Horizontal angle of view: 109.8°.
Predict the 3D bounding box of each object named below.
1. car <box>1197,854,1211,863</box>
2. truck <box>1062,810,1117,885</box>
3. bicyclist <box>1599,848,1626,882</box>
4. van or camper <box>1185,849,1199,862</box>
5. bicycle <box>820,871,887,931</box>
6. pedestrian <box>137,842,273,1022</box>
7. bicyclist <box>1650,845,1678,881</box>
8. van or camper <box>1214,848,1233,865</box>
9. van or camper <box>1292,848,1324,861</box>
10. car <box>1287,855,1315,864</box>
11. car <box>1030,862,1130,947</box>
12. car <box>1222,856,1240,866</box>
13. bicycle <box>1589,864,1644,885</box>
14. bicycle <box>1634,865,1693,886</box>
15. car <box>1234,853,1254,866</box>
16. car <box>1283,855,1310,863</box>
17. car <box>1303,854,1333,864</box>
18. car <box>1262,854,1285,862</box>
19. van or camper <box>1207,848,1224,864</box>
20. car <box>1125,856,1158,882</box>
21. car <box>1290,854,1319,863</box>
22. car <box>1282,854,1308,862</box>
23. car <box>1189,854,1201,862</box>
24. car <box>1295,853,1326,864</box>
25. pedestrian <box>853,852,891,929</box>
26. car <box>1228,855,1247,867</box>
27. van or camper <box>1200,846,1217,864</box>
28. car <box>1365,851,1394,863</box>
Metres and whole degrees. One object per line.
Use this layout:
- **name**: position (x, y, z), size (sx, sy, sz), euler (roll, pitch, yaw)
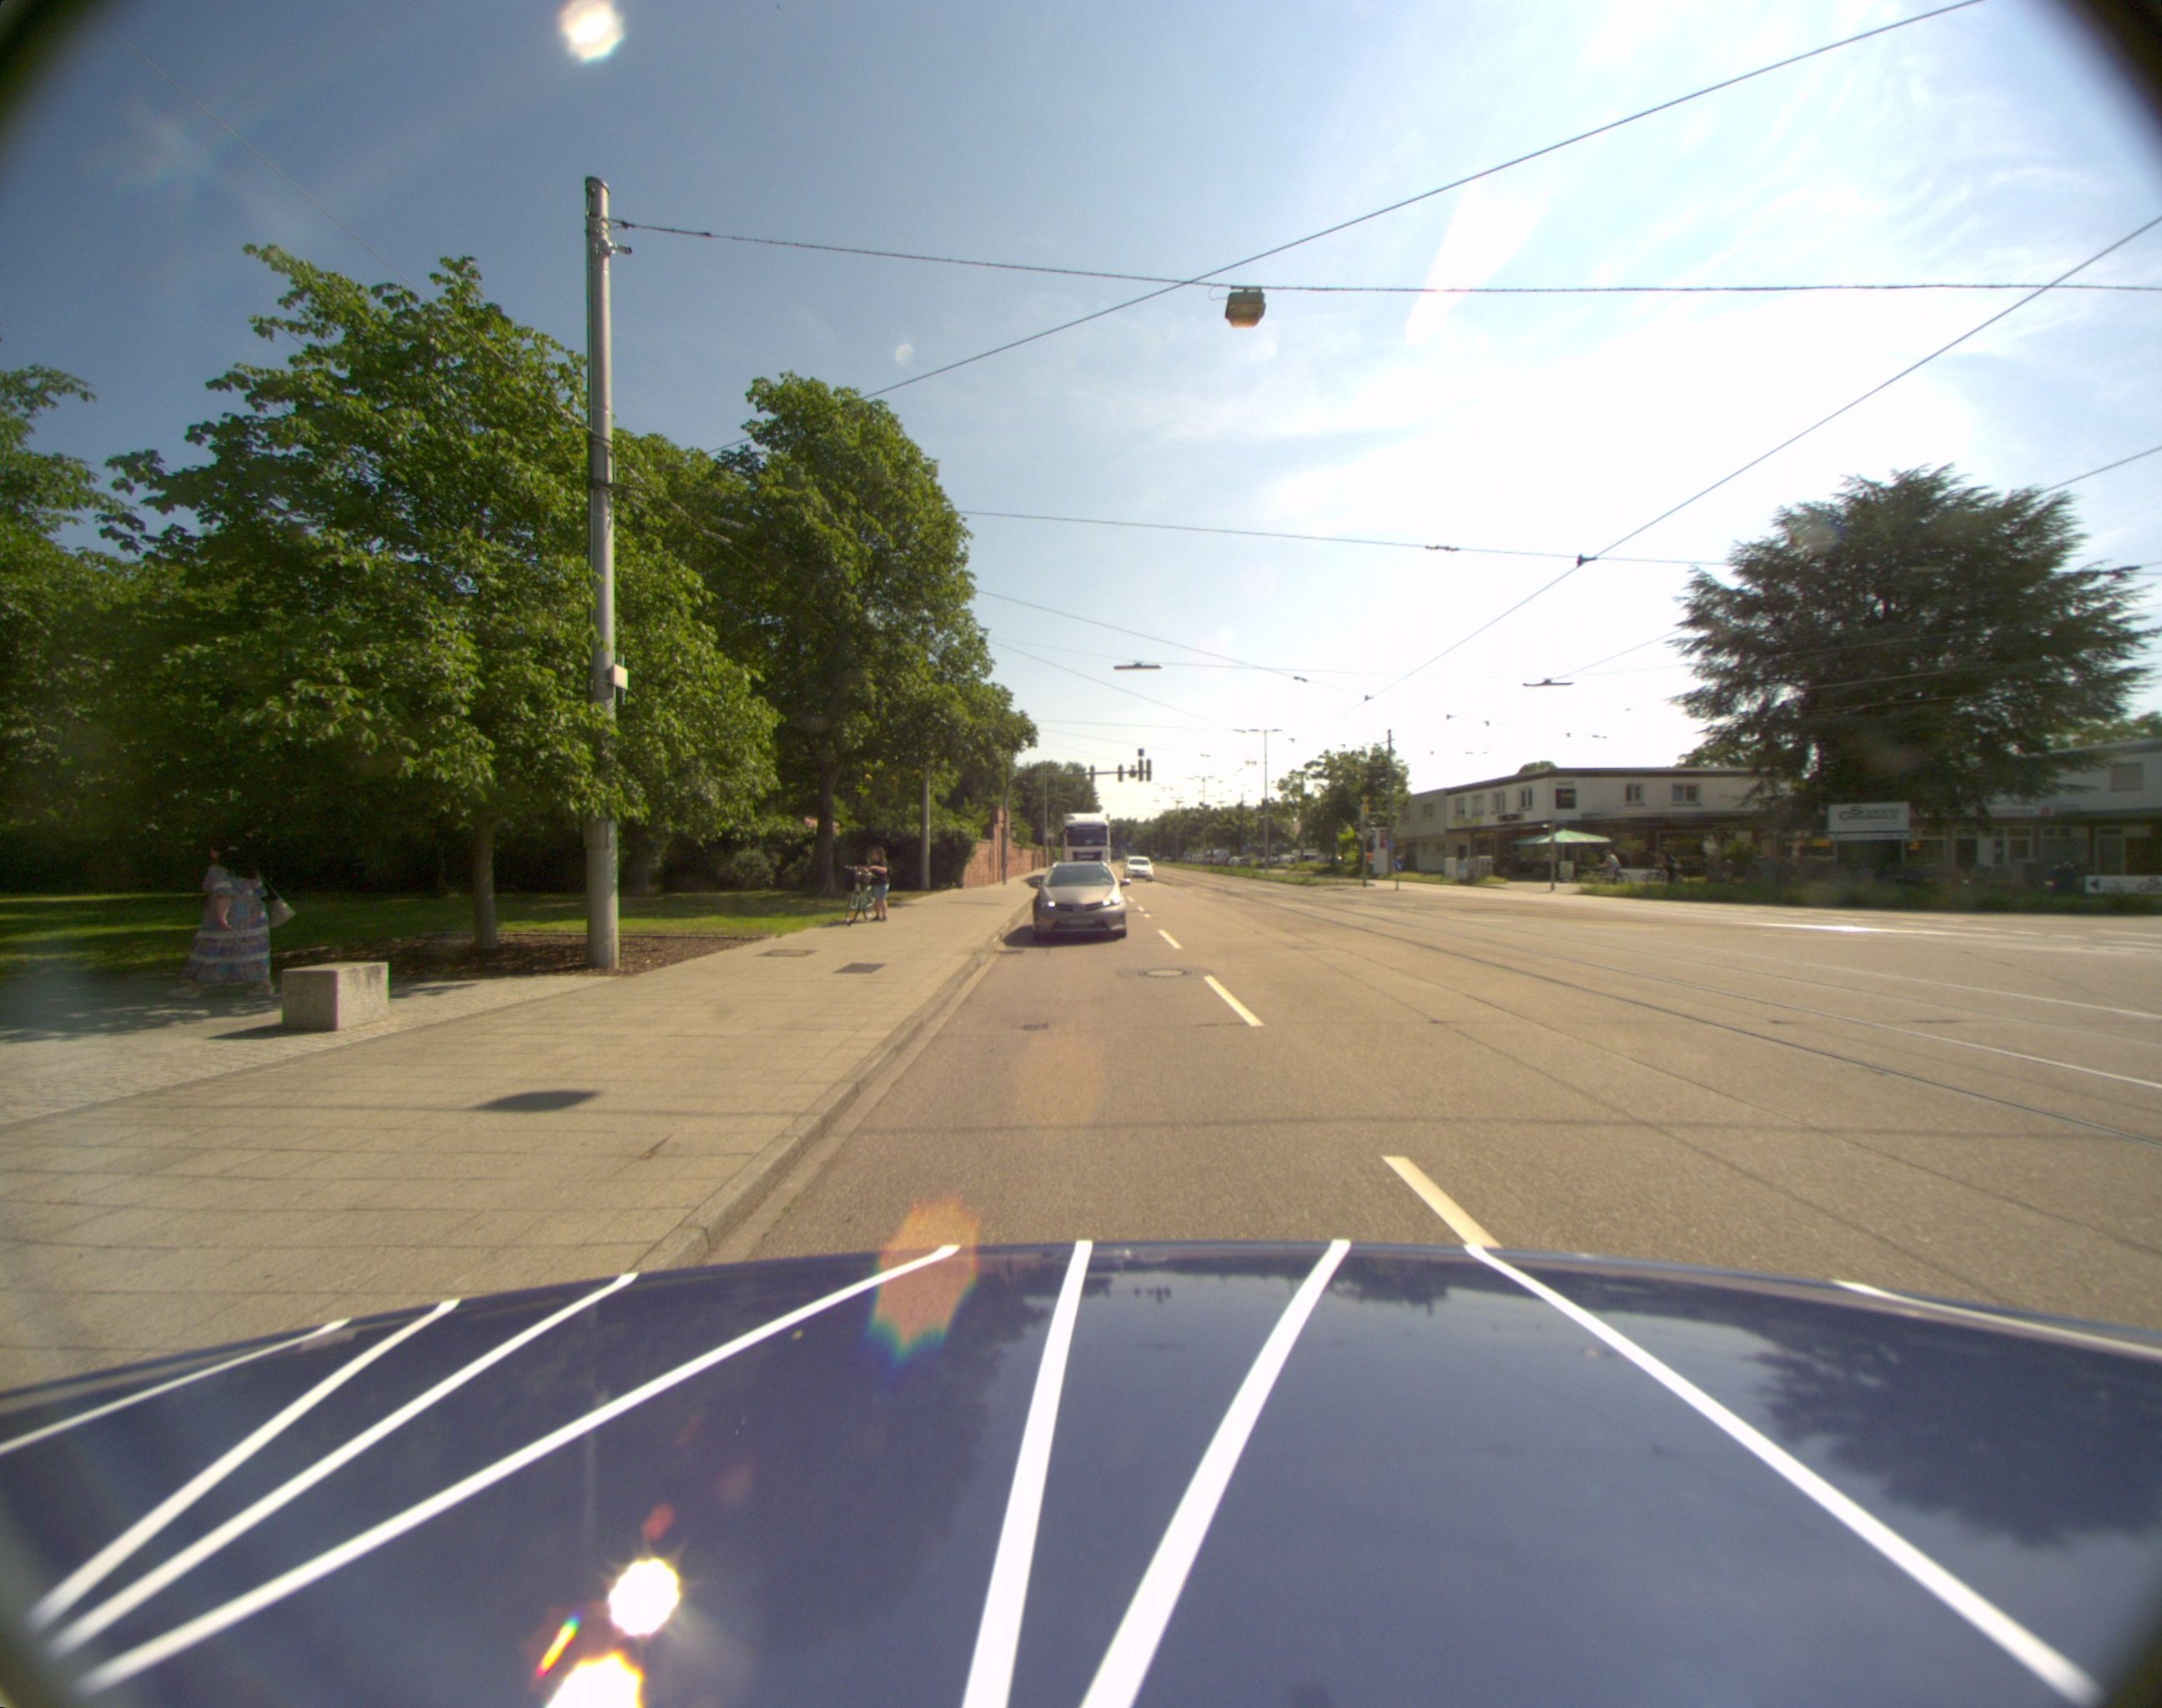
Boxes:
- **car**: position (22.726, 0.804, 140.559), size (1.892, 1.724, 4.232), euler (0, 0, 1)
- **truck**: position (0.558, -0.325, 44.267), size (2.746, 3.852, 9.111), euler (2, 0, 1)
- **bicyclist**: position (25.042, 0.512, 35.802), size (0.632, 1.549, 0.764), euler (1, 1, -19)
- **van or camper**: position (23.367, 0.336, 159.953), size (2.114, 2.604, 5.452), euler (1, 0, 1)
- **bicycle**: position (-4.647, 0.939, 15.666), size (0.536, 1.105, 1.808), euler (1, 1, 11)
- **pedestrian**: position (-8.640, 0.728, 7.531), size (0.708, 1.672, 0.650), euler (0, 1, -31)
- **bicyclist**: position (26.355, 0.401, 34.334), size (0.632, 1.565, 0.764), euler (0, 0, -18)
- **van or camper**: position (21.931, 0.385, 117.006), size (2.040, 2.617, 4.840), euler (0, 0, 1)
- **van or camper**: position (47.118, 0.089, 158.017), size (6.081, 2.714, 2.300), euler (0, 0, 3)
- **car**: position (32.816, 0.775, 113.475), size (3.624, 1.274, 1.813), euler (0, 0, 0)
- **car**: position (0.045, 0.923, 15.716), size (1.742, 1.424, 4.462), euler (-1, 0, 1)
- **car**: position (22.044, 1.009, 111.567), size (1.892, 1.486, 4.232), euler (0, 0, 1)
- **bicycle**: position (25.094, 0.941, 35.659), size (0.536, 0.941, 2.132), euler (0, 0, -22)
- **bicycle**: position (26.309, 0.952, 34.360), size (0.576, 0.885, 2.132), euler (0, 0, -22)
- **car**: position (21.664, 0.719, 101.127), size (1.892, 1.486, 4.286), euler (-3, 0, 3)
- **car**: position (33.021, 0.772, 116.680), size (3.624, 1.274, 1.712), euler (0, 0, 0)
- **car**: position (32.177, 0.723, 103.277), size (3.624, 1.353, 1.712), euler (0, 0, 0)
- **car**: position (33.885, 0.704, 133.538), size (3.624, 1.274, 1.712), euler (0, 0, 0)
- **van or camper**: position (21.974, 0.349, 124.063), size (2.040, 2.617, 4.840), euler (0, 0, 1)
- **car**: position (3.720, 0.901, 47.411), size (1.770, 1.552, 4.067), euler (1, 0, 1)
- **car**: position (31.792, 0.654, 108.079), size (3.624, 1.277, 1.712), euler (0, 0, 0)
- **car**: position (33.495, 0.576, 118.879), size (3.624, 1.274, 1.712), euler (0, 0, 0)
- **car**: position (23.016, 0.872, 153.201), size (1.892, 1.551, 4.232), euler (0, 0, 1)
- **car**: position (31.970, 0.584, 105.748), size (3.749, 1.560, 1.951), euler (0, 0, 0)
- **pedestrian**: position (-4.269, 0.731, 15.556), size (0.542, 1.540, 0.663), euler (2, 0, 1)
- **car**: position (21.835, 0.968, 106.319), size (1.892, 1.551, 4.285), euler (0, 0, 1)
- **van or camper**: position (22.165, 0.138, 131.954), size (2.128, 2.967, 5.282), euler (0, 0, 1)
- **car**: position (45.170, 0.397, 115.085), size (3.624, 1.767, 1.712), euler (0, 0, 0)
